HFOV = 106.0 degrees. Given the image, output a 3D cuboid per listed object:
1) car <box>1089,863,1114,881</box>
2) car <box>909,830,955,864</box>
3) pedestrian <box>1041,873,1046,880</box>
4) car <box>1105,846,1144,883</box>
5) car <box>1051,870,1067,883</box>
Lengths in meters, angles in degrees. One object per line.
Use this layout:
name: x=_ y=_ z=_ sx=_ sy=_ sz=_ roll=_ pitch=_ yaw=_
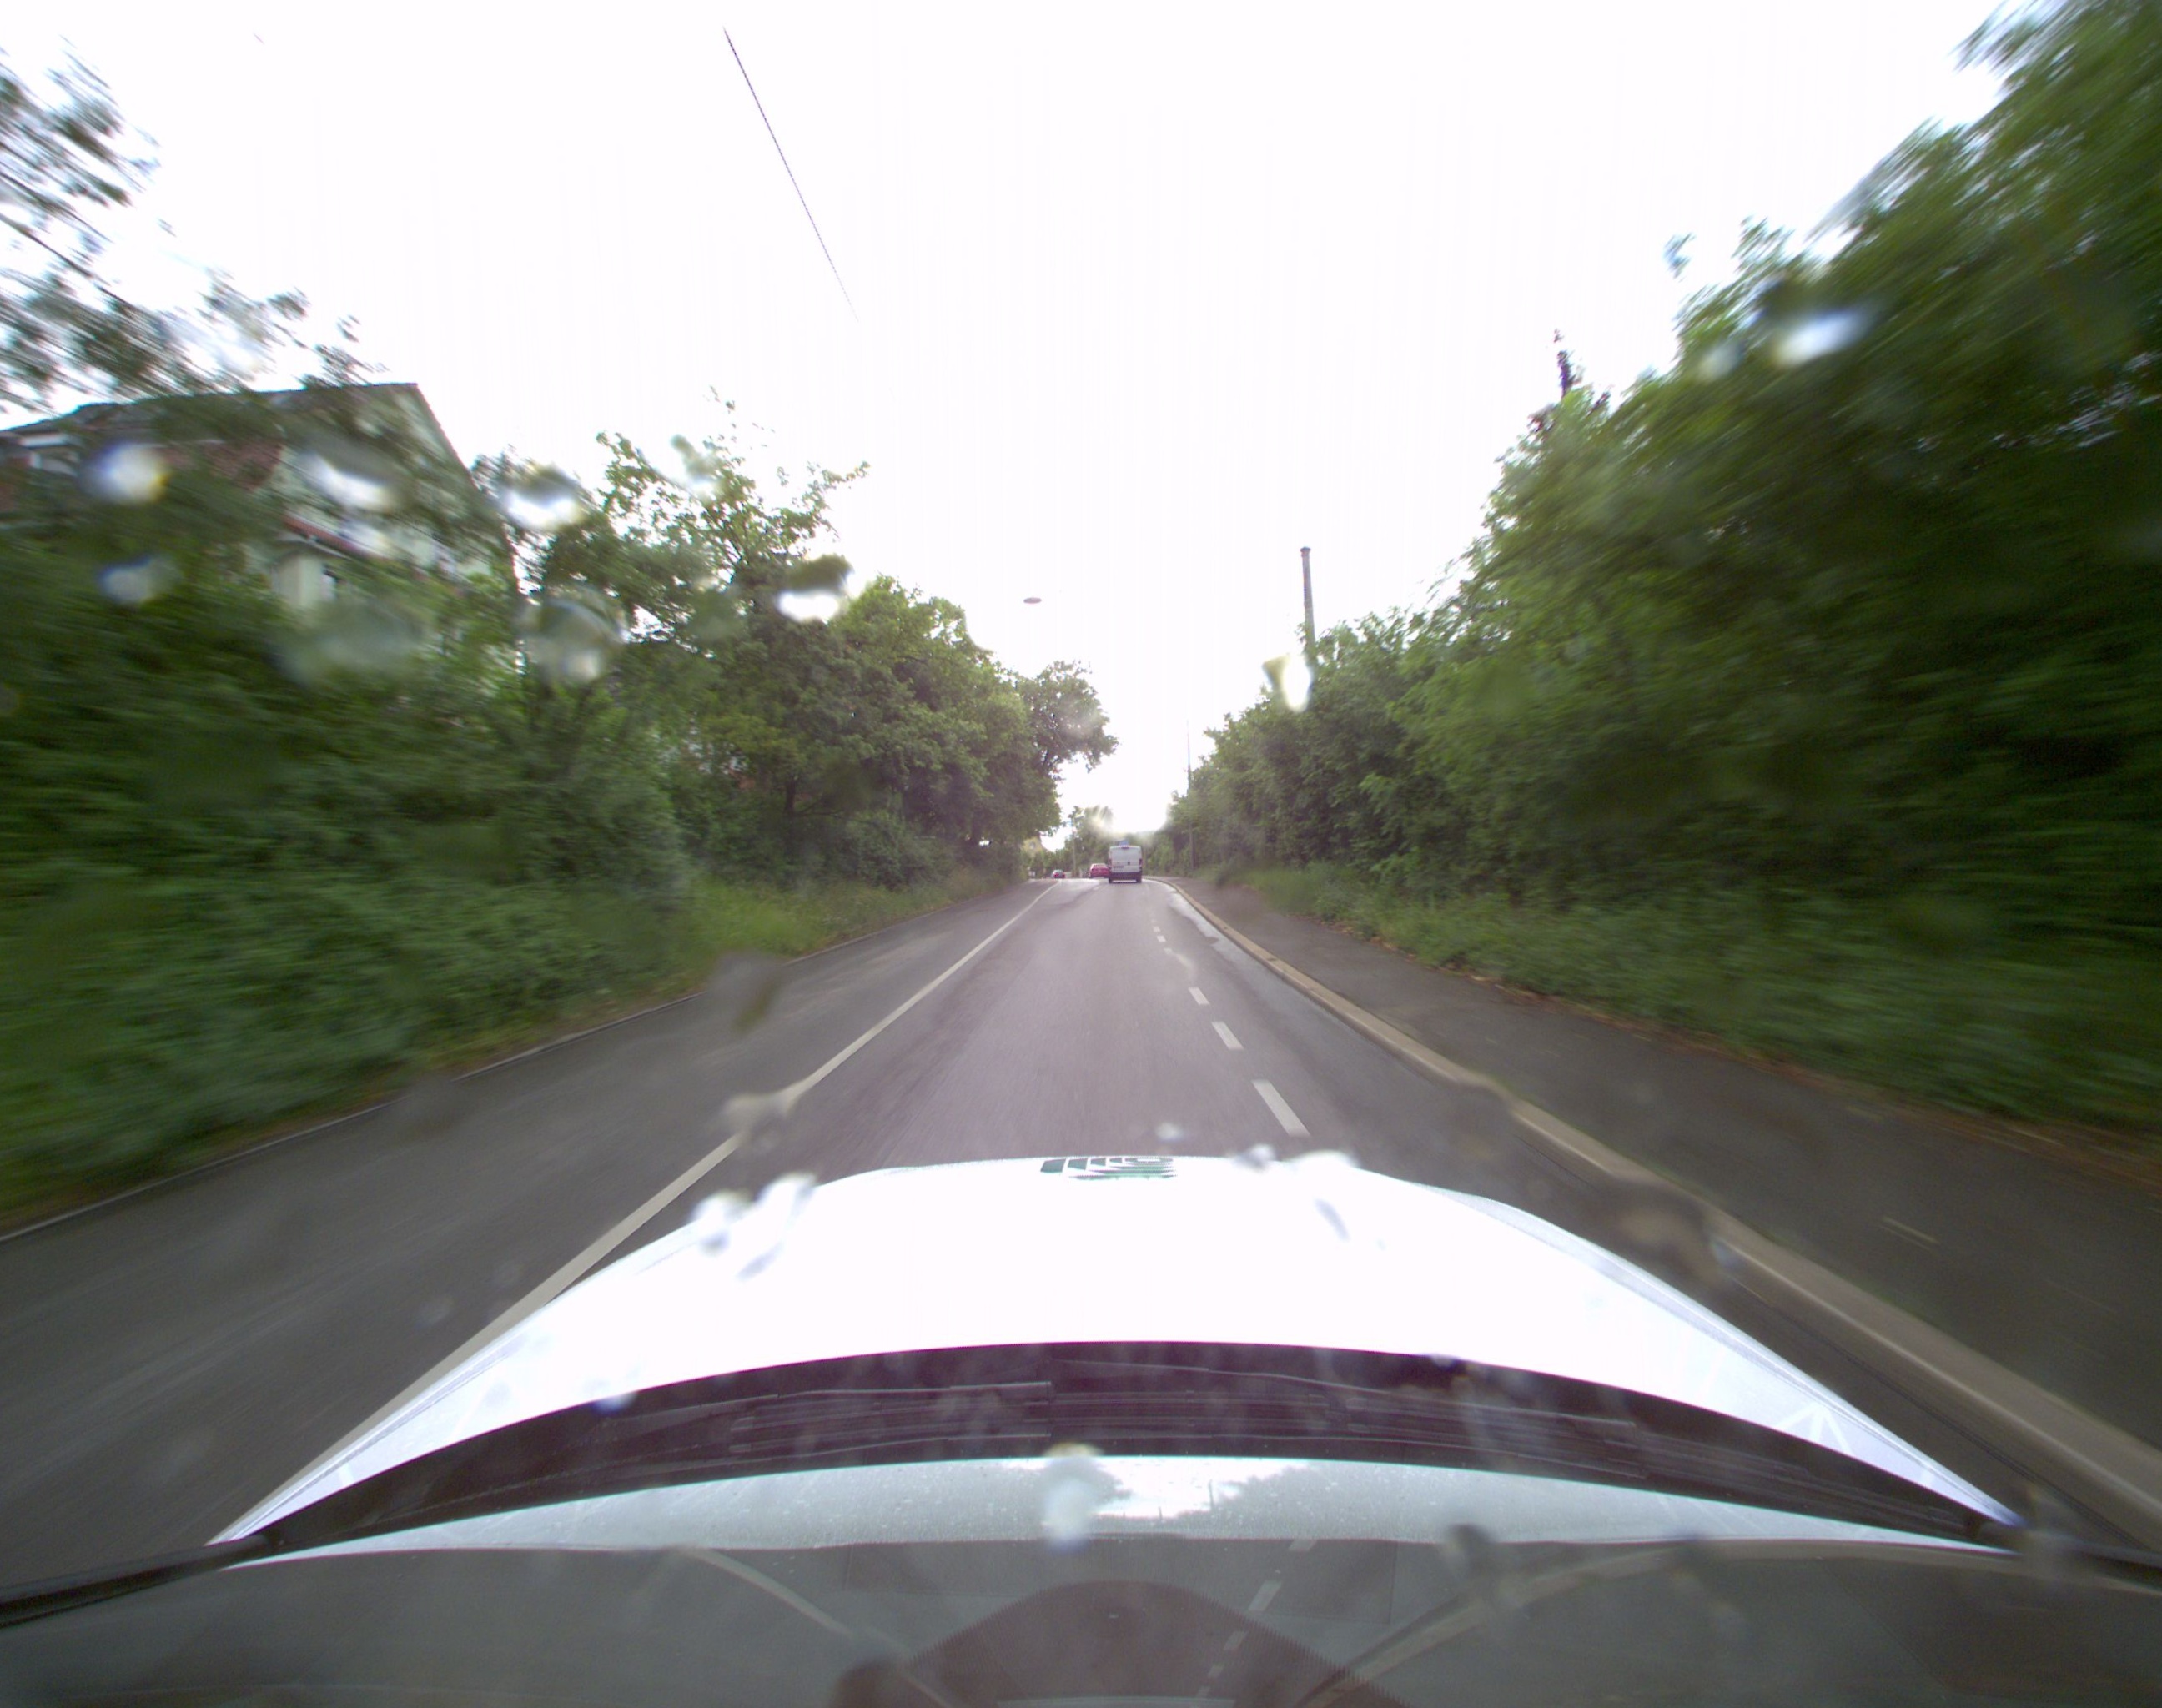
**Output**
car: x=1.891 y=1.714 z=78.249 sx=2.231 sy=1.657 sz=4.711 roll=-1 pitch=0 yaw=-1
car: x=-9.551 y=-0.416 z=52.422 sx=1.986 sy=2.014 sz=4.628 roll=-1 pitch=0 yaw=1
pedestrian: x=-7.422 y=4.472 z=159.692 sx=0.879 sy=1.367 sz=1.061 roll=0 pitch=-1 yaw=-10
car: x=2.684 y=0.637 z=51.098 sx=2.230 sy=2.213 sz=4.713 roll=-1 pitch=0 yaw=1
car: x=-3.249 y=3.323 z=121.543 sx=2.229 sy=1.804 sz=4.714 roll=-1 pitch=0 yaw=1
